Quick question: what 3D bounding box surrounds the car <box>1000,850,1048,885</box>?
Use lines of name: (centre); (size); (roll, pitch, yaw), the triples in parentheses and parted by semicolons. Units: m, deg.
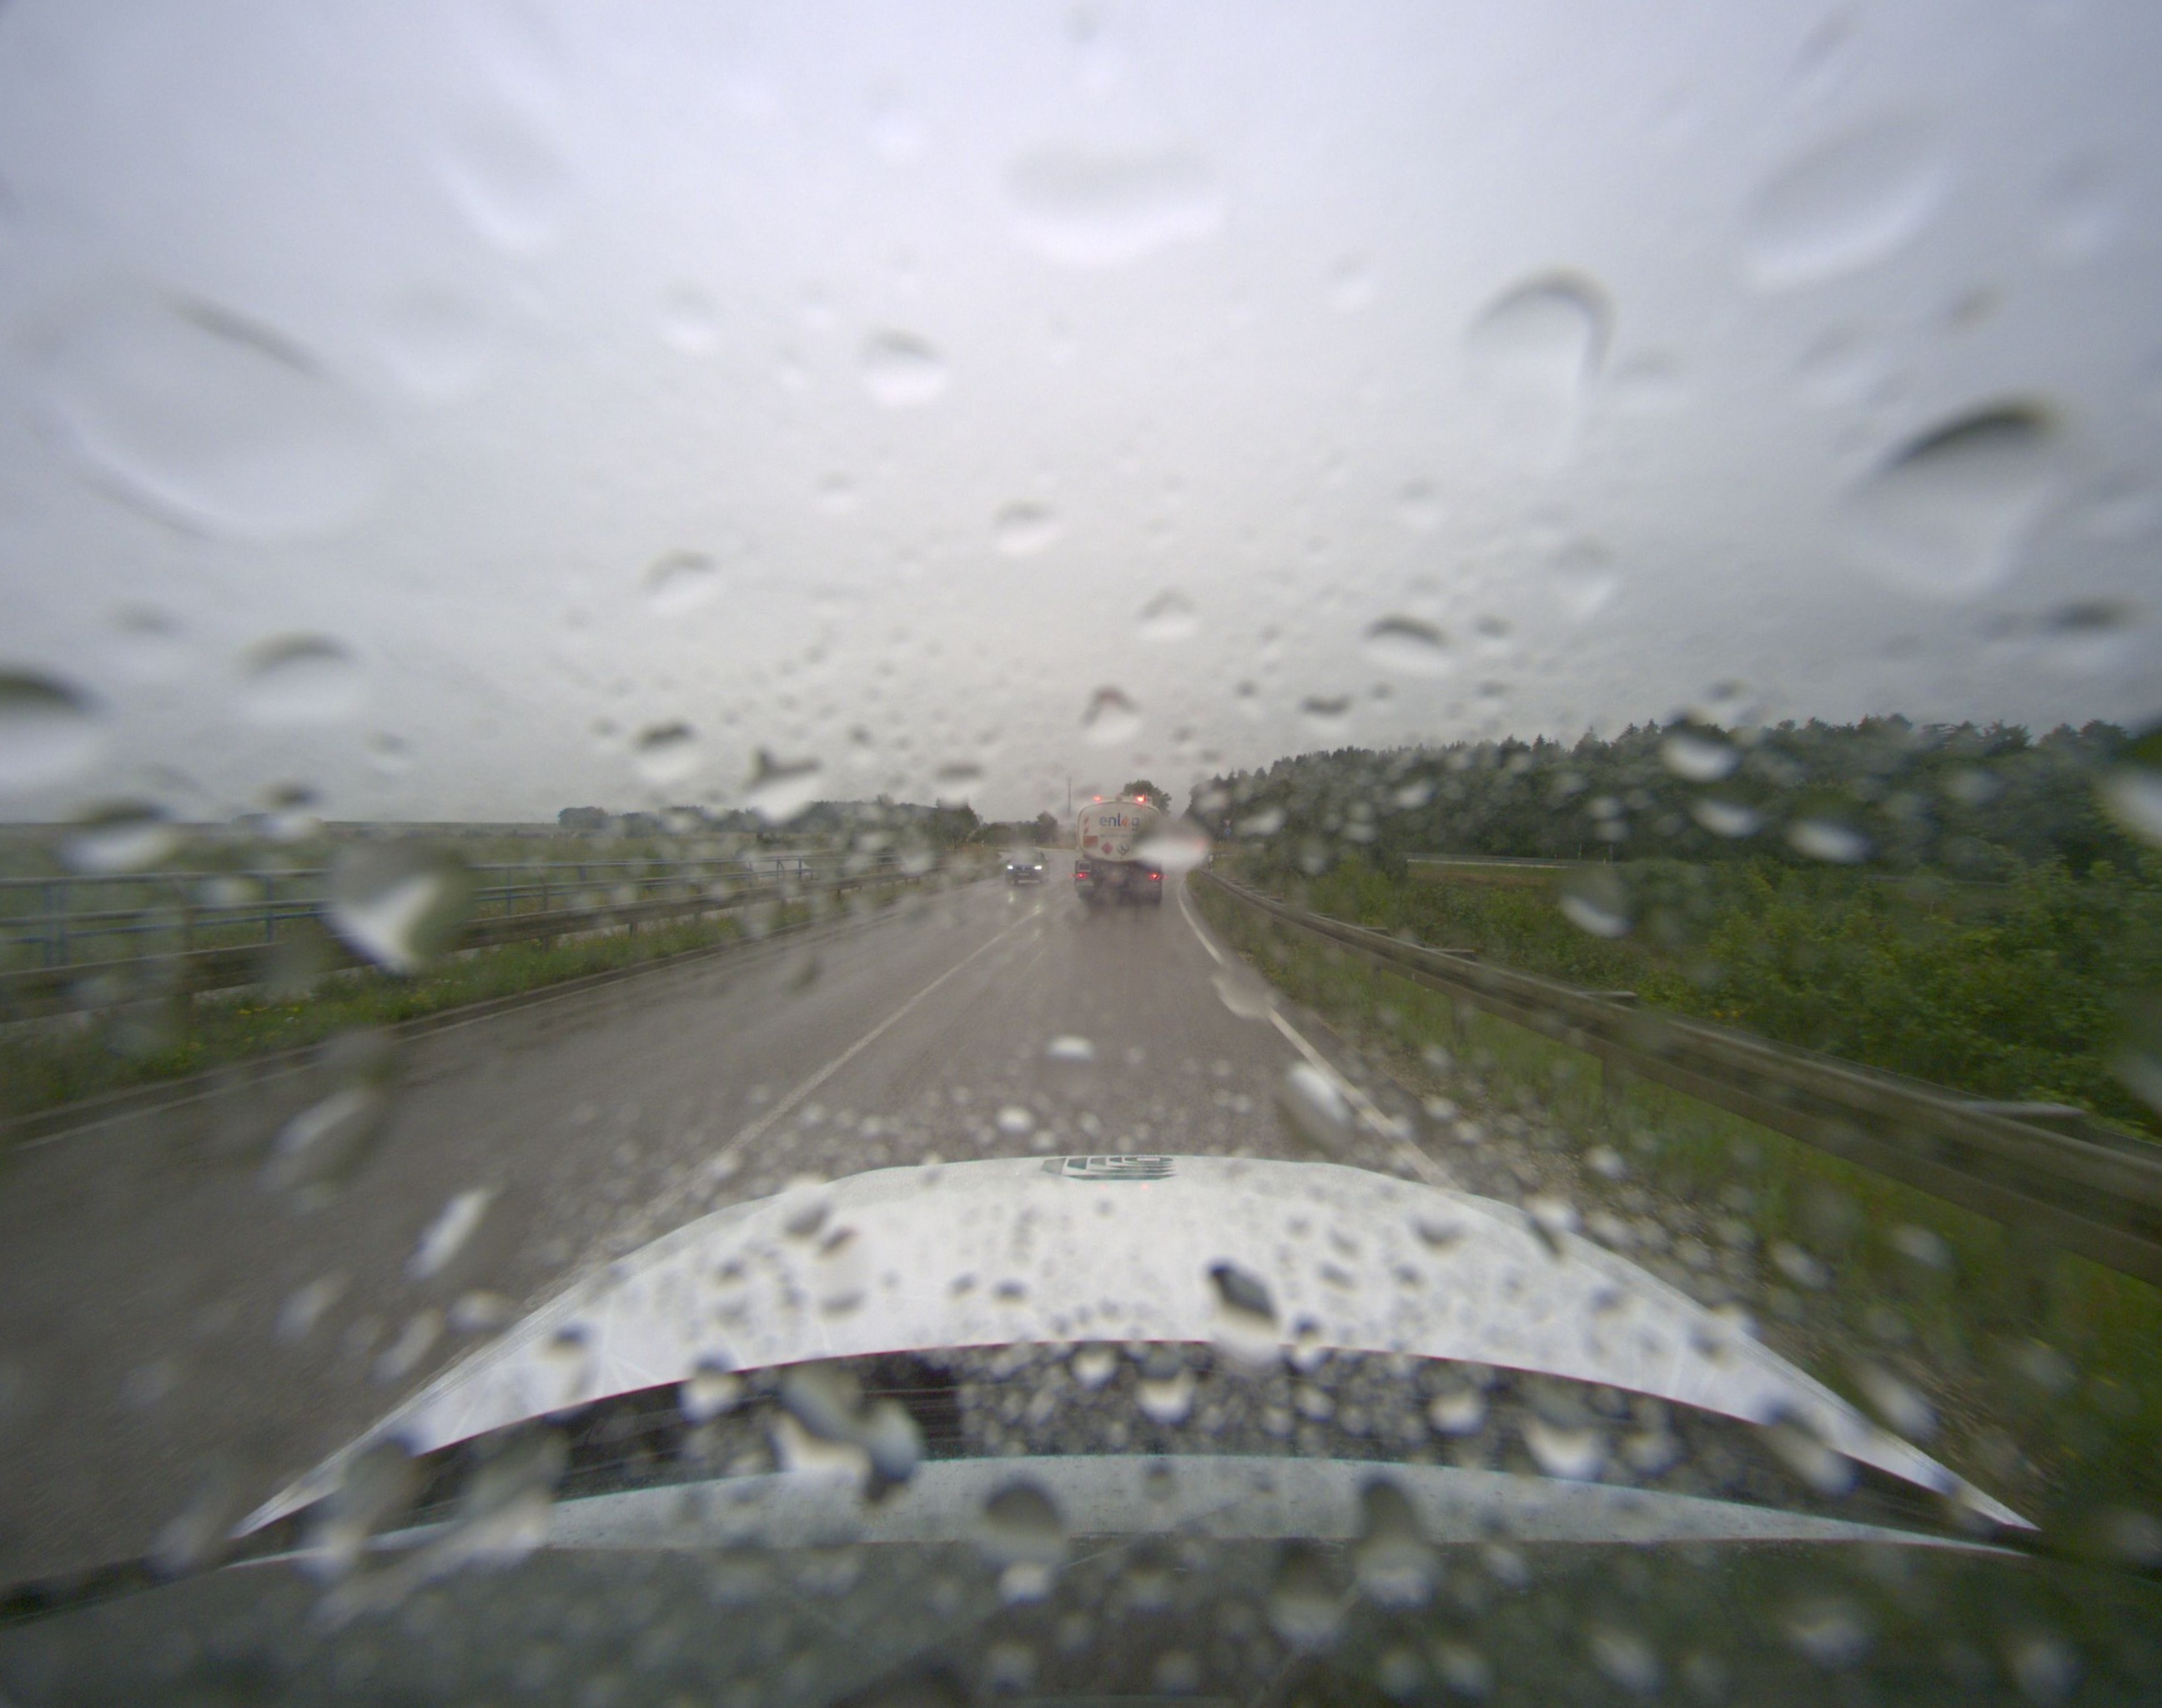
car: (-2.548, 0.580, 37.314); (1.774, 1.526, 4.171); (0, 0, 2)

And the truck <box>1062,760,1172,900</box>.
truck: (1.351, -0.734, 26.906); (3.025, 3.851, 8.834); (0, 1, 5)
